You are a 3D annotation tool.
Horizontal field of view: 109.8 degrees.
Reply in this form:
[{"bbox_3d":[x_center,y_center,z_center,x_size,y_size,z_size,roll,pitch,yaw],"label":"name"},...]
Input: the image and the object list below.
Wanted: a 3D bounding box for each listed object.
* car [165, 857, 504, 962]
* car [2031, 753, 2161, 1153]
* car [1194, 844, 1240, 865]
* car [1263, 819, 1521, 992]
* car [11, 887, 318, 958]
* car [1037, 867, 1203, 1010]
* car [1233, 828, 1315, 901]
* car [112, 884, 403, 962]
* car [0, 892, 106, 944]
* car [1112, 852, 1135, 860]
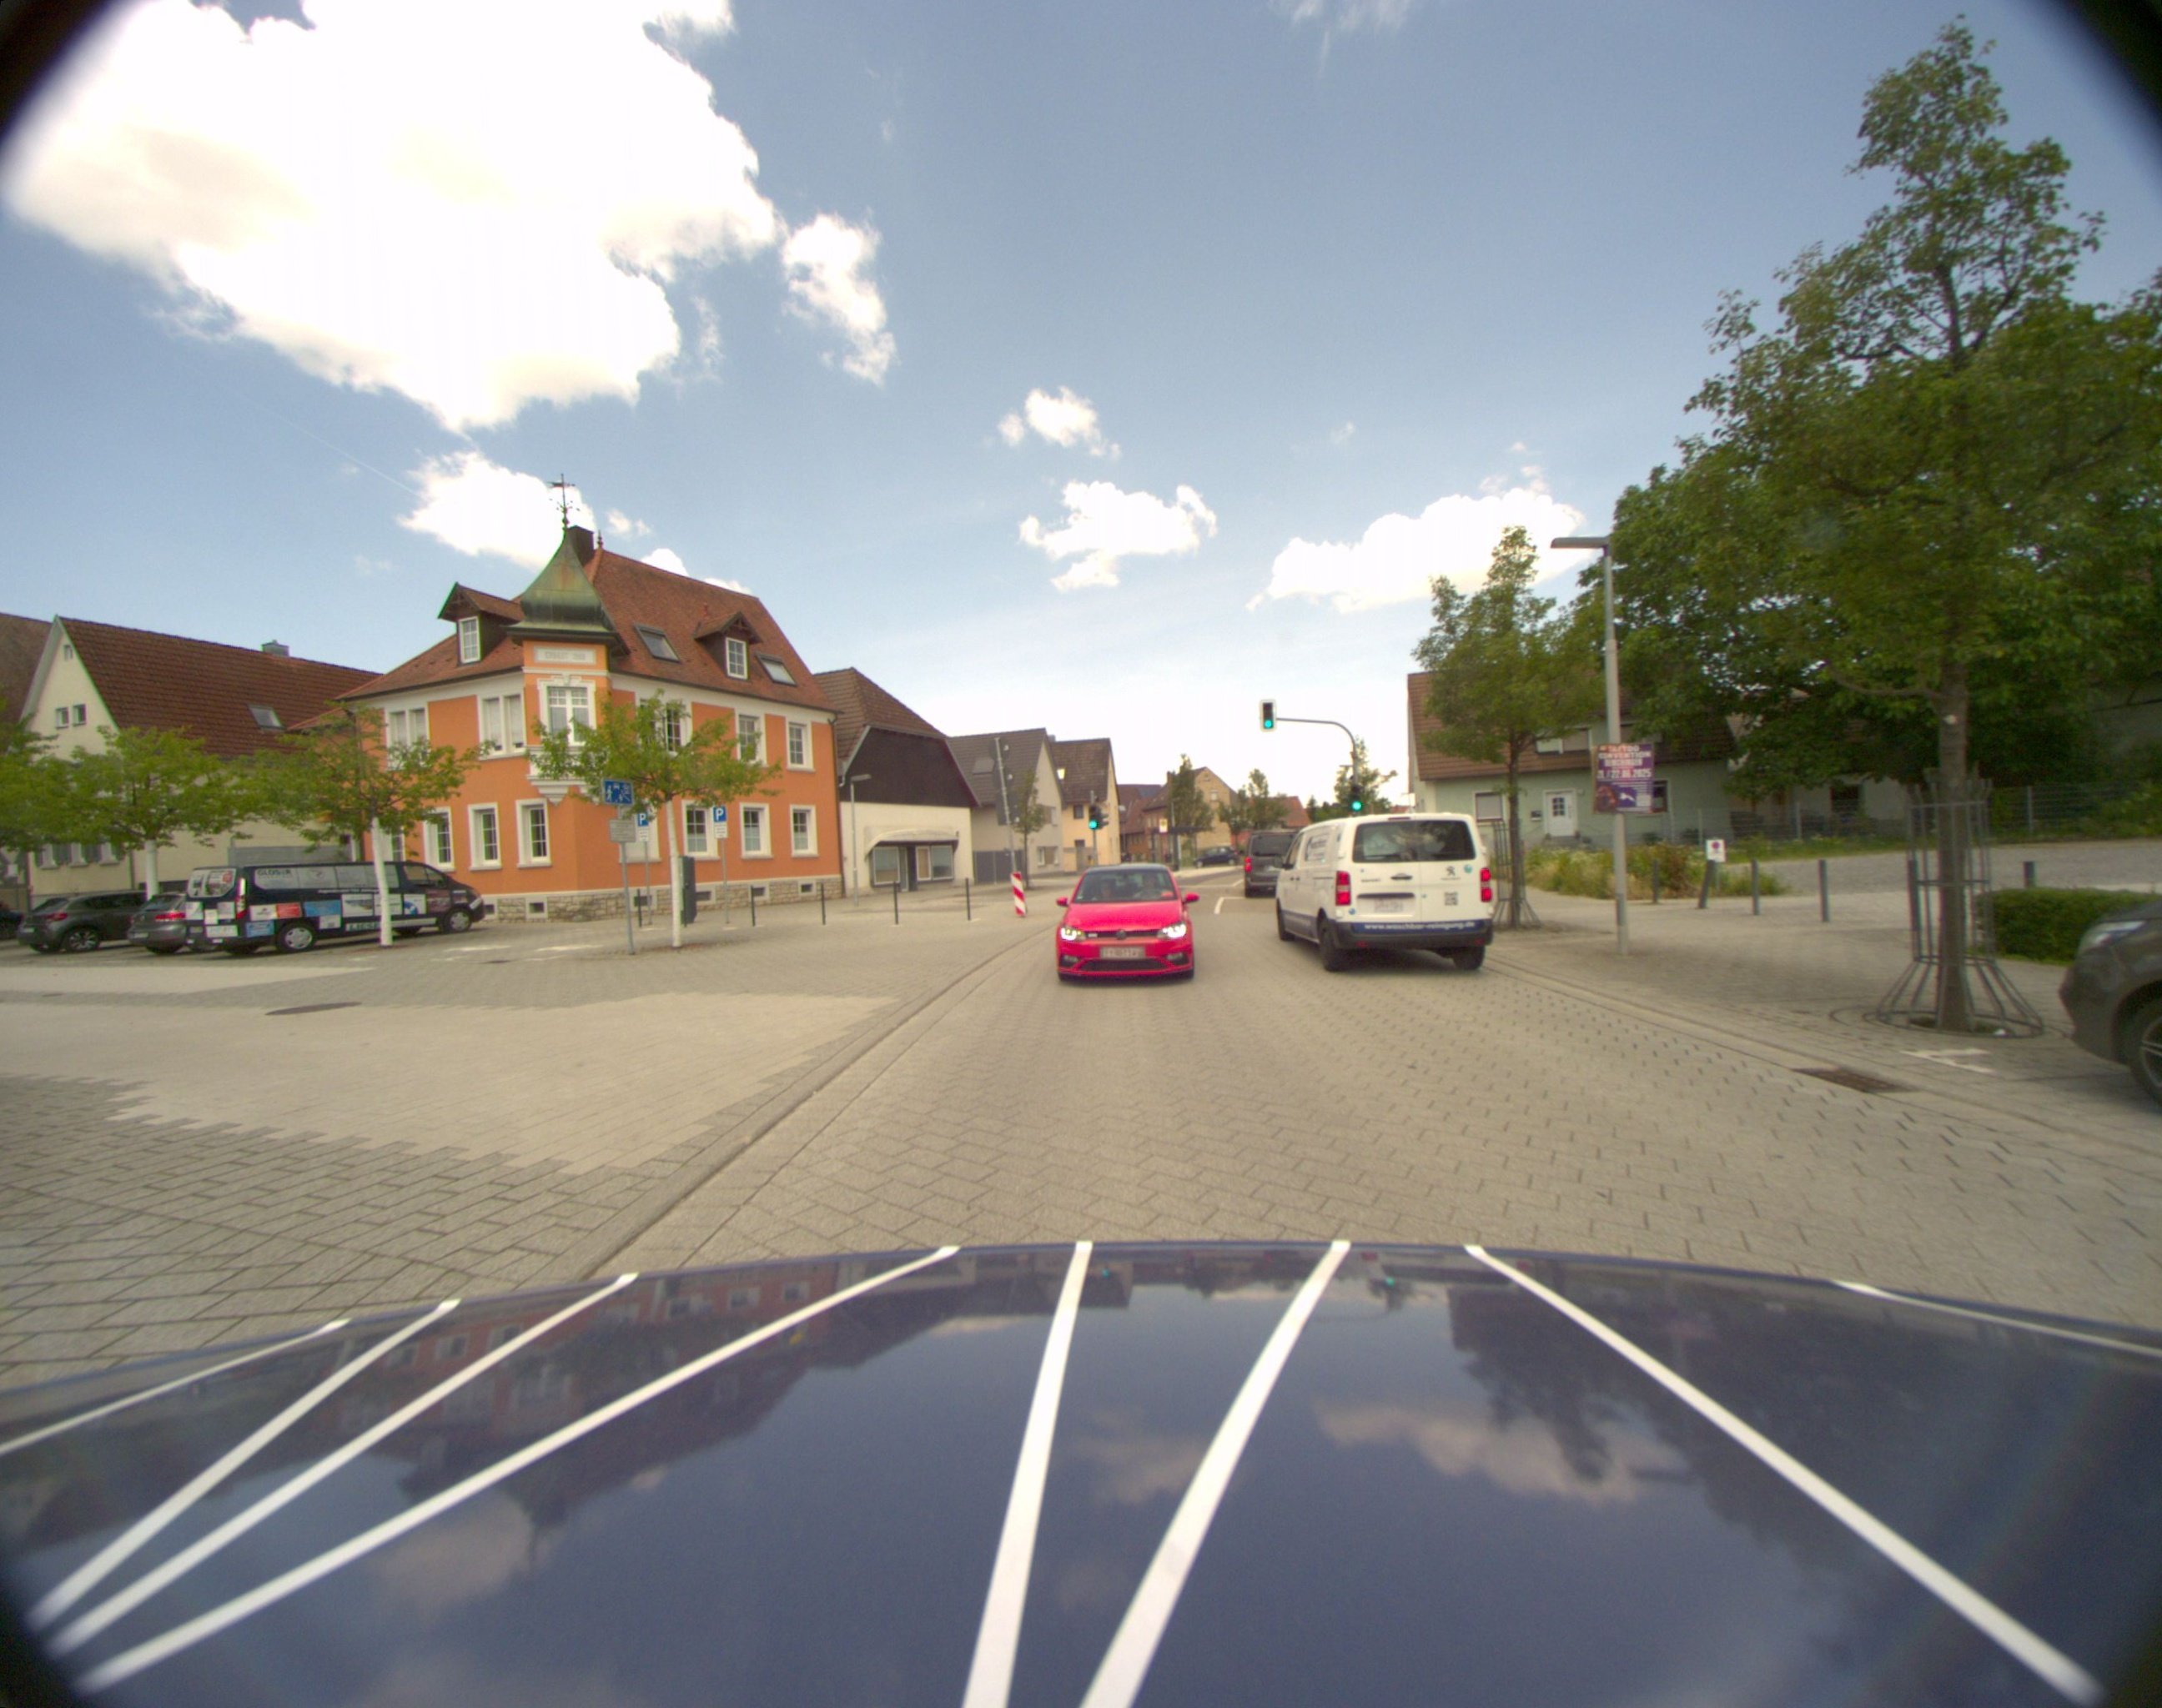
[{"bbox_3d":[-17.542,1.184,18.407,1.996,2.002,5.501,-3,0,16],"label":"car"},{"bbox_3d":[6.219,0.452,1.674,1.991,1.979,5.045,-3,0,2],"label":"car"},{"bbox_3d":[11.149,0.026,62.269,3.543,1.583,1.668,-3,0,14],"label":"car"},{"bbox_3d":[4.079,0.575,11.005,1.998,1.869,4.867,-3,0,4],"label":"car"},{"bbox_3d":[-25.581,1.842,21.568,1.996,1.433,5.131,-3,0,16],"label":"car"},{"bbox_3d":[0.420,0.971,10.331,1.782,1.403,3.887,-2,1,0],"label":"car"},{"bbox_3d":[5.938,0.281,23.898,1.997,2.002,4.742,-2,0,9],"label":"car"},{"bbox_3d":[-20.506,1.643,19.293,1.621,1.475,4.727,-3,0,16],"label":"car"},{"bbox_3d":[-36.203,2.203,24.460,1.996,1.563,5.501,-3,0,16],"label":"car"},{"bbox_3d":[6.061,0.262,108.757,1.805,1.053,3.994,-3,0,-19],"label":"car"}]
